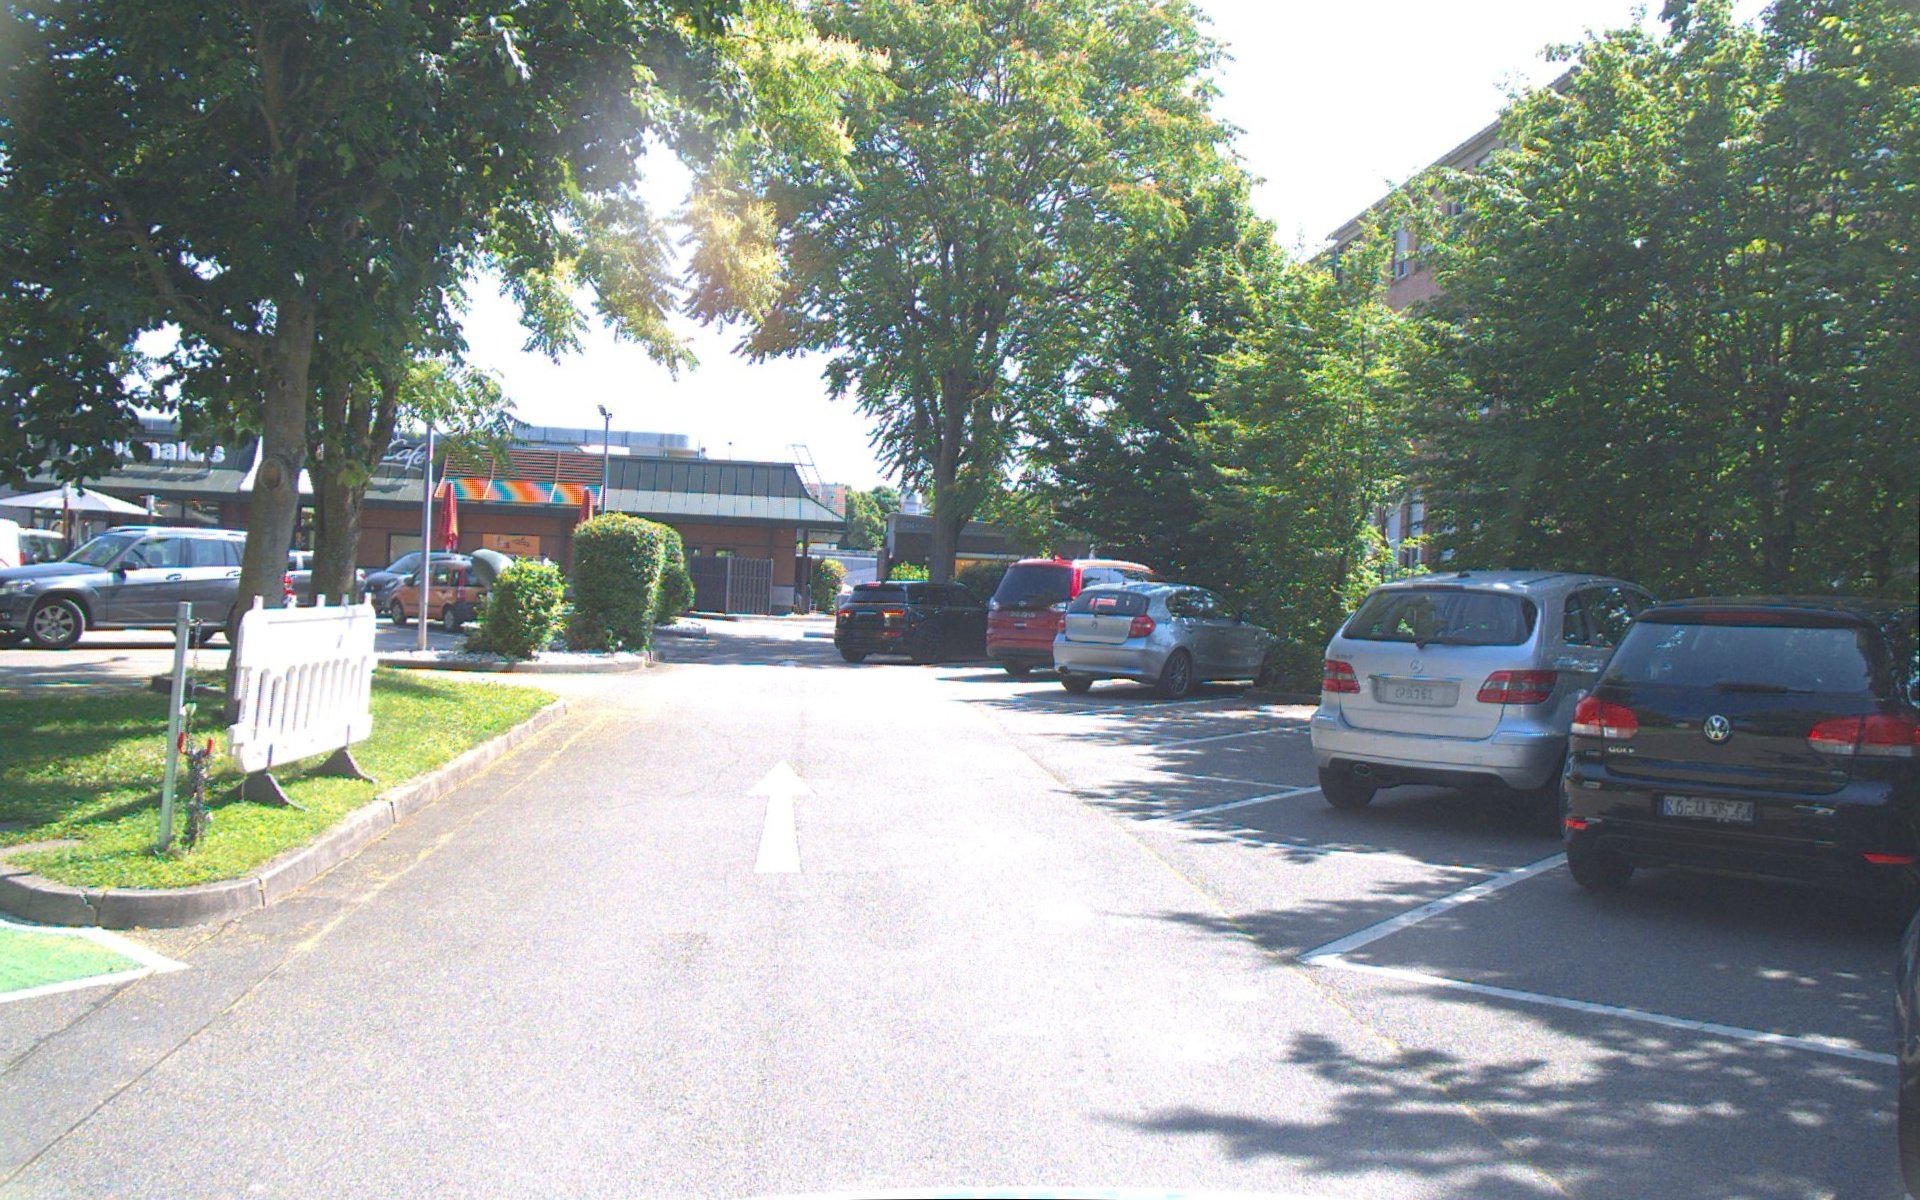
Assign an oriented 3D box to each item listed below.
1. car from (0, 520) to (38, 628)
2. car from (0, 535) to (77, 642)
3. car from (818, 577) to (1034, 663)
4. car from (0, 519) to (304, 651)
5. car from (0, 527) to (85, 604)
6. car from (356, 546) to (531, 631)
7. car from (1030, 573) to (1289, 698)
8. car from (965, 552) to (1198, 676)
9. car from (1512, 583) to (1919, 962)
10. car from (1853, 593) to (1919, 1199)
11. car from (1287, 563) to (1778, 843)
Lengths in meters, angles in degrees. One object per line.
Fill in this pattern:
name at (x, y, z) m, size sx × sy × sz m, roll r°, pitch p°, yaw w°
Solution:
car at (-16.966, -0.497, 25.623) m, size 1.827 × 1.715 × 4.292 m, roll 3°, pitch 1°, yaw 38°
car at (-14.949, -0.226, 23.301) m, size 1.826 × 1.517 × 4.022 m, roll 3°, pitch 1°, yaw 37°
car at (-0.539, 0.362, 29.640) m, size 1.740 × 1.413 × 3.981 m, roll 1°, pitch 0°, yaw 38°
car at (-11.915, -0.188, 23.677) m, size 1.826 × 1.715 × 4.348 m, roll 3°, pitch 1°, yaw 37°
car at (-21.133, -0.815, 36.365) m, size 4.065 × 1.579 × 1.911 m, roll 3°, pitch 1°, yaw 39°
car at (-11.731, -0.302, 37.427) m, size 4.289 × 1.715 × 1.852 m, roll 3°, pitch 3°, yaw 41°
car at (2.767, 0.431, 22.280) m, size 1.739 × 1.501 × 3.984 m, roll 1°, pitch 1°, yaw 36°
car at (1.962, 0.205, 25.711) m, size 1.740 × 1.765 × 3.982 m, roll 0°, pitch 0°, yaw 37°
car at (4.643, 0.678, 8.642) m, size 3.970 × 1.495 × 1.745 m, roll 0°, pitch 1°, yaw -45°
car at (3.954, 0.740, 4.545) m, size 1.675 × 1.478 × 3.973 m, roll 1°, pitch 1°, yaw 43°
car at (4.142, 0.592, 11.614) m, size 1.744 × 1.599 × 3.972 m, roll 2°, pitch 1°, yaw 44°
